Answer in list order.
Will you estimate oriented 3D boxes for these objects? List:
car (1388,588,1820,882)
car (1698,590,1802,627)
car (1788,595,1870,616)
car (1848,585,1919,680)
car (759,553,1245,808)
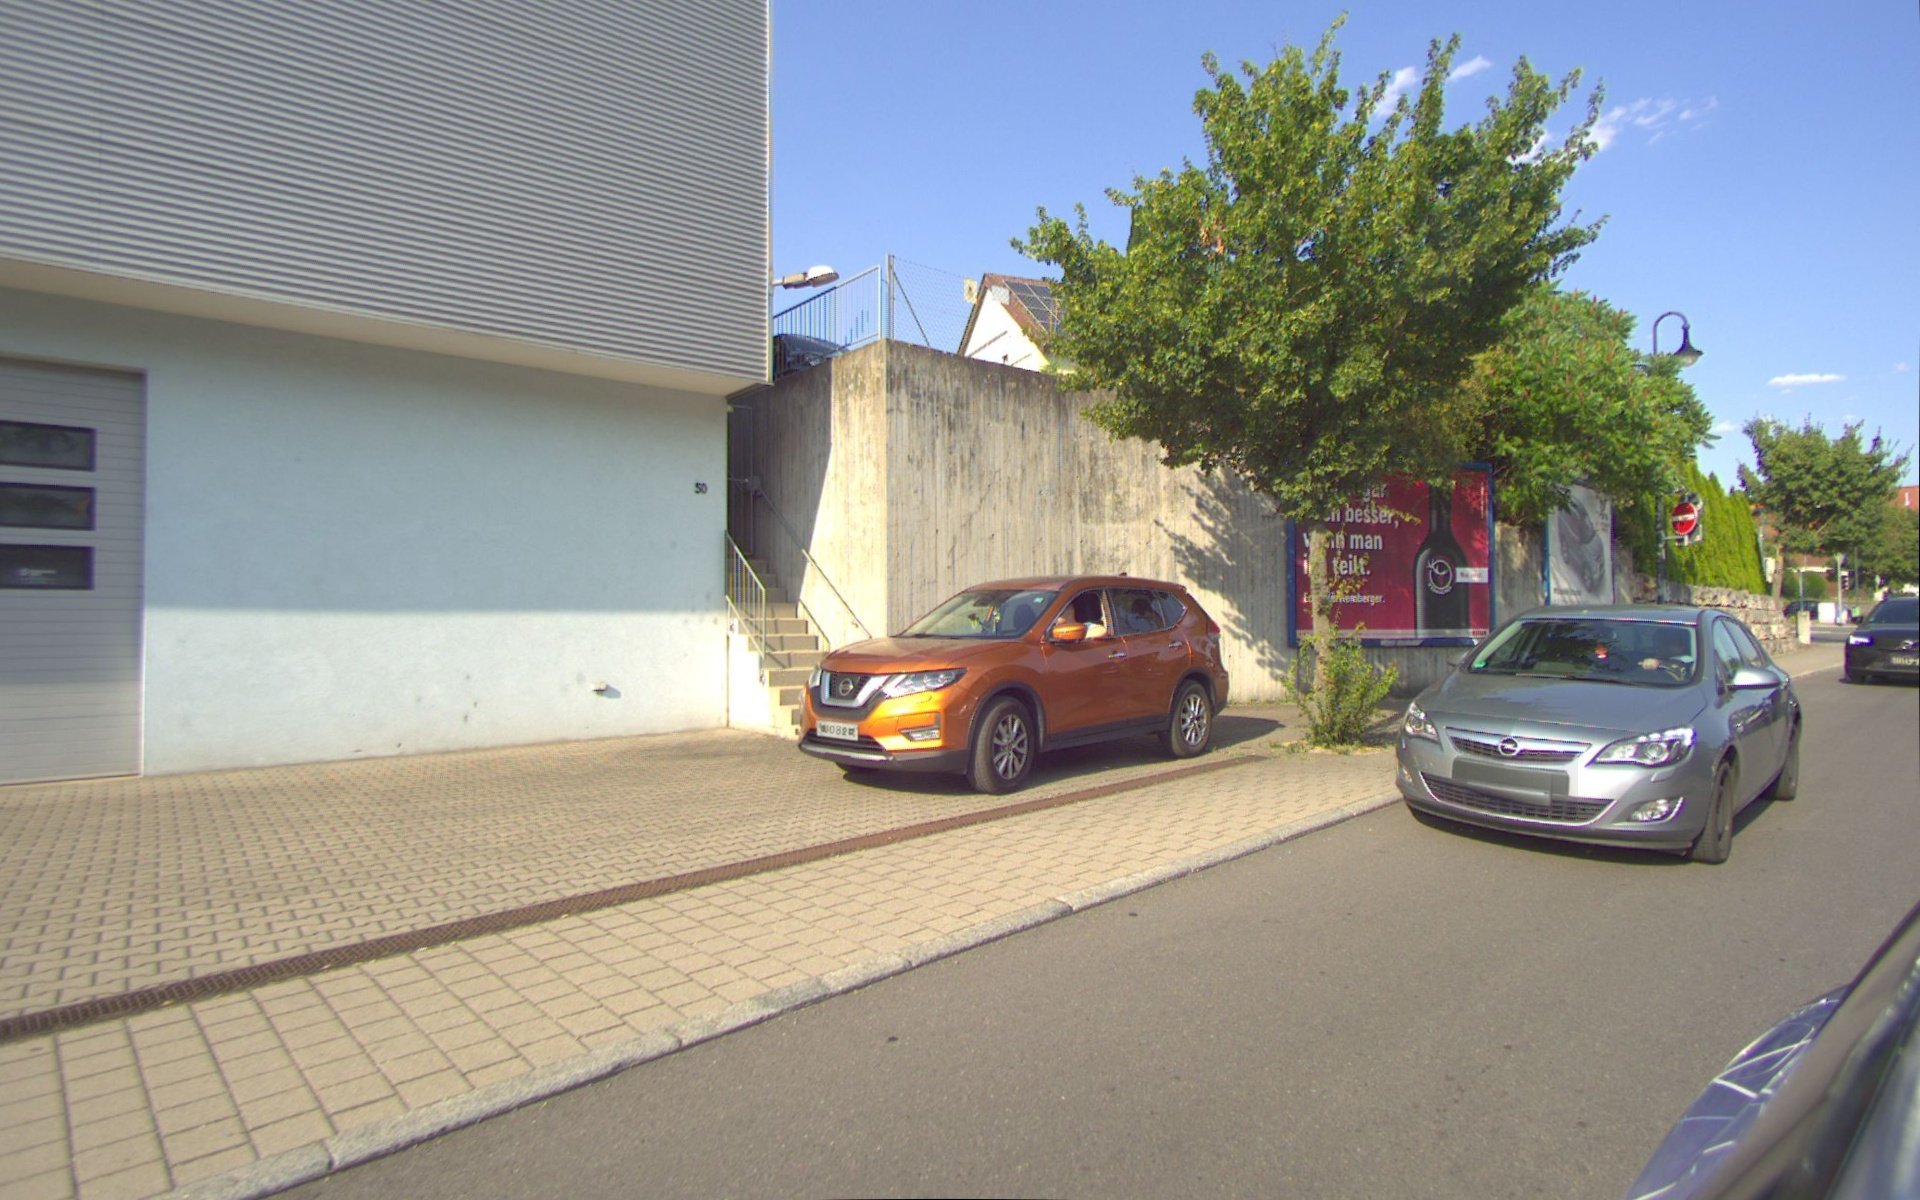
[{"bbox_3d":[4.680,0.685,7.081,4.075,1.440,1.649,1,1,-44],"label":"car"},{"bbox_3d":[39.868,0.384,51.131,1.569,1.560,3.800,1,4,-37],"label":"car"},{"bbox_3d":[61.600,0.404,71.811,1.644,1.475,4.086,1,-1,-25],"label":"car"},{"bbox_3d":[18.031,0.578,18.651,3.981,1.626,1.792,1,-1,-38],"label":"car"},{"bbox_3d":[0.610,0.532,8.918,1.834,1.670,4.467,-1,0,43],"label":"car"}]
